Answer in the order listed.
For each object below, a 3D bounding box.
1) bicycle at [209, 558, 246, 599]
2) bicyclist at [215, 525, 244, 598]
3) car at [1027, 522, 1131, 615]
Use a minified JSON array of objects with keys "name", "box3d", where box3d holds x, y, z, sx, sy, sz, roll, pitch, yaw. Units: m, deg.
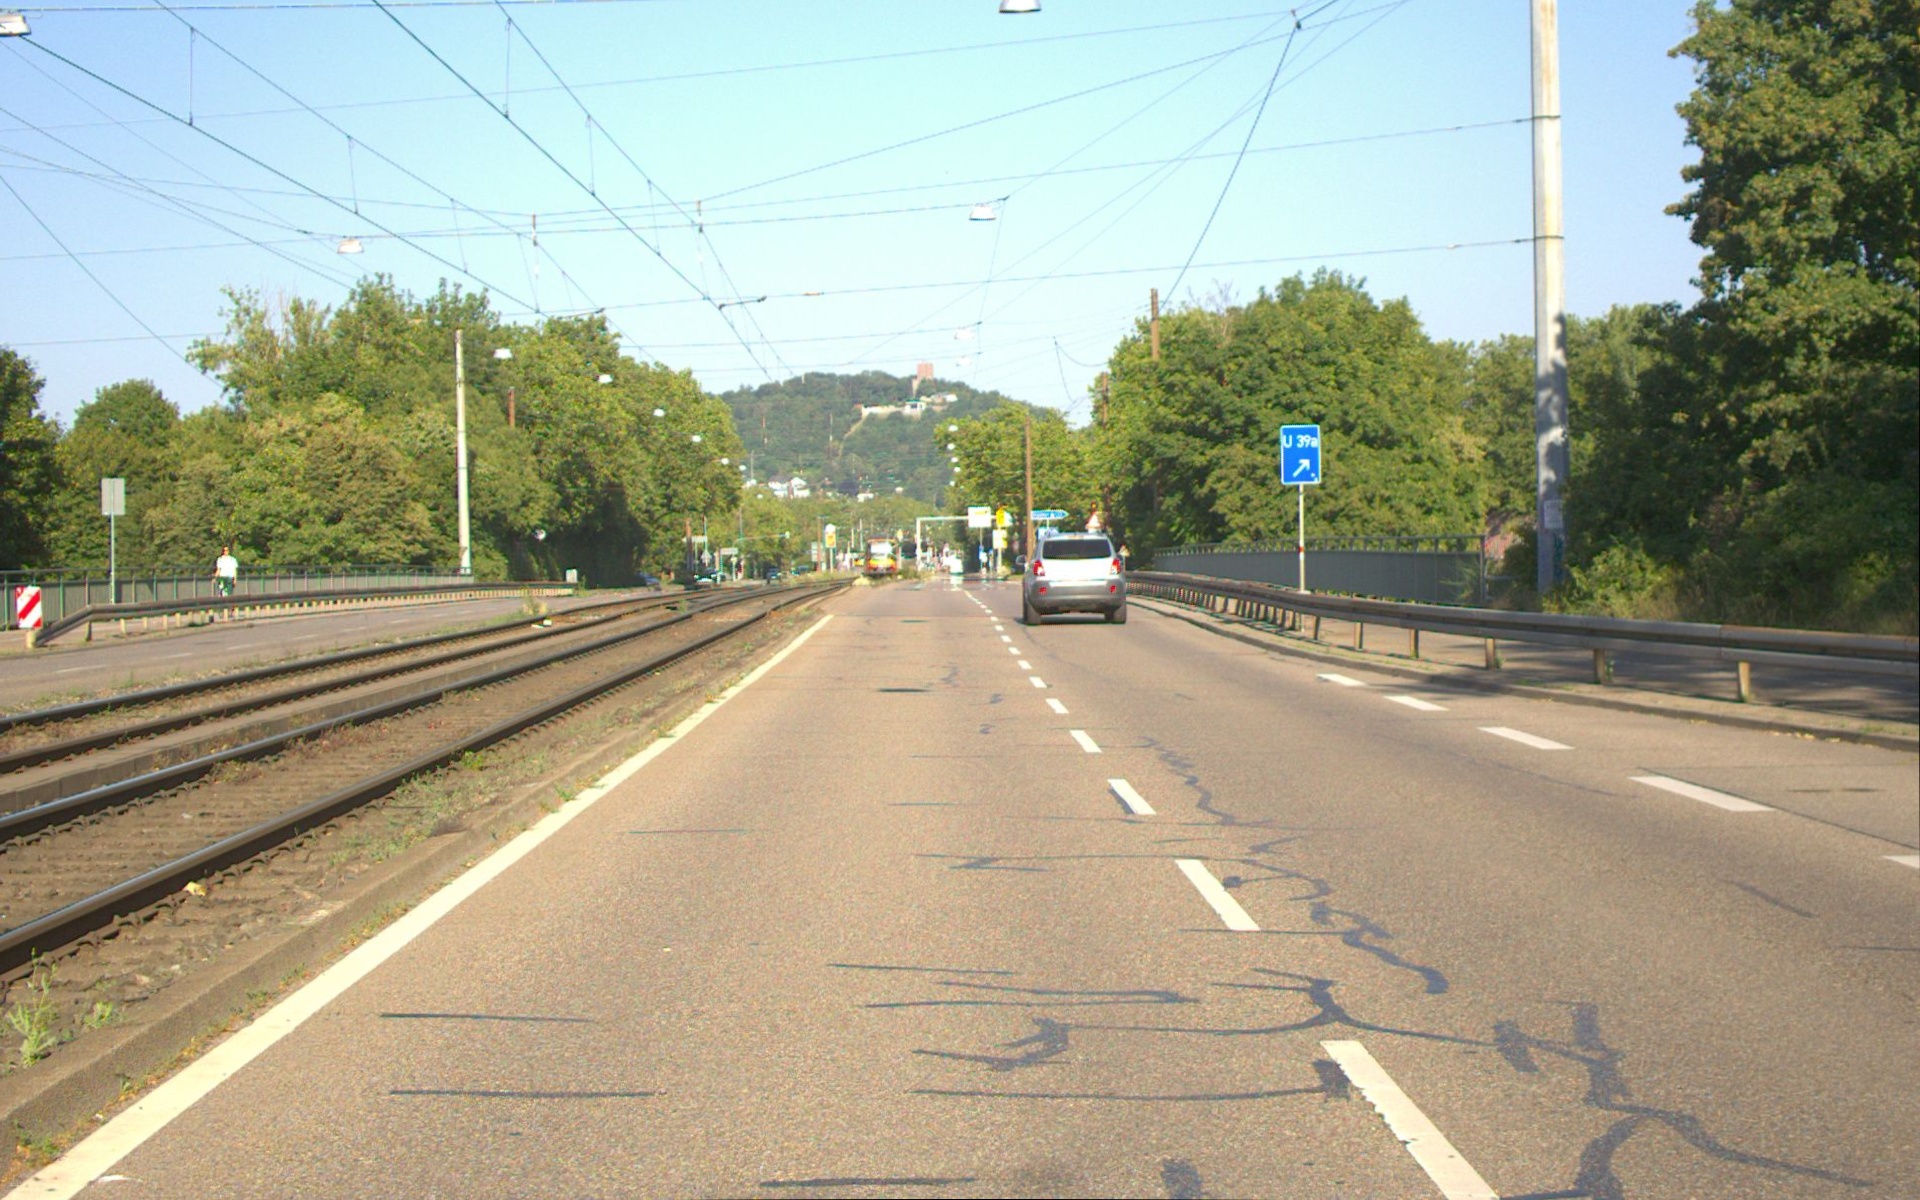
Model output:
[{"name":"bicycle","box3d":[-18.727,-0.553,87.932,0.540,1.040,1.925,1,1,-1]},{"name":"bicyclist","box3d":[-18.727,-0.977,88.130,0.540,1.856,0.875,1,1,-1]},{"name":"car","box3d":[2.238,-0.603,64.908,1.888,1.688,4.256,0,1,2]}]
